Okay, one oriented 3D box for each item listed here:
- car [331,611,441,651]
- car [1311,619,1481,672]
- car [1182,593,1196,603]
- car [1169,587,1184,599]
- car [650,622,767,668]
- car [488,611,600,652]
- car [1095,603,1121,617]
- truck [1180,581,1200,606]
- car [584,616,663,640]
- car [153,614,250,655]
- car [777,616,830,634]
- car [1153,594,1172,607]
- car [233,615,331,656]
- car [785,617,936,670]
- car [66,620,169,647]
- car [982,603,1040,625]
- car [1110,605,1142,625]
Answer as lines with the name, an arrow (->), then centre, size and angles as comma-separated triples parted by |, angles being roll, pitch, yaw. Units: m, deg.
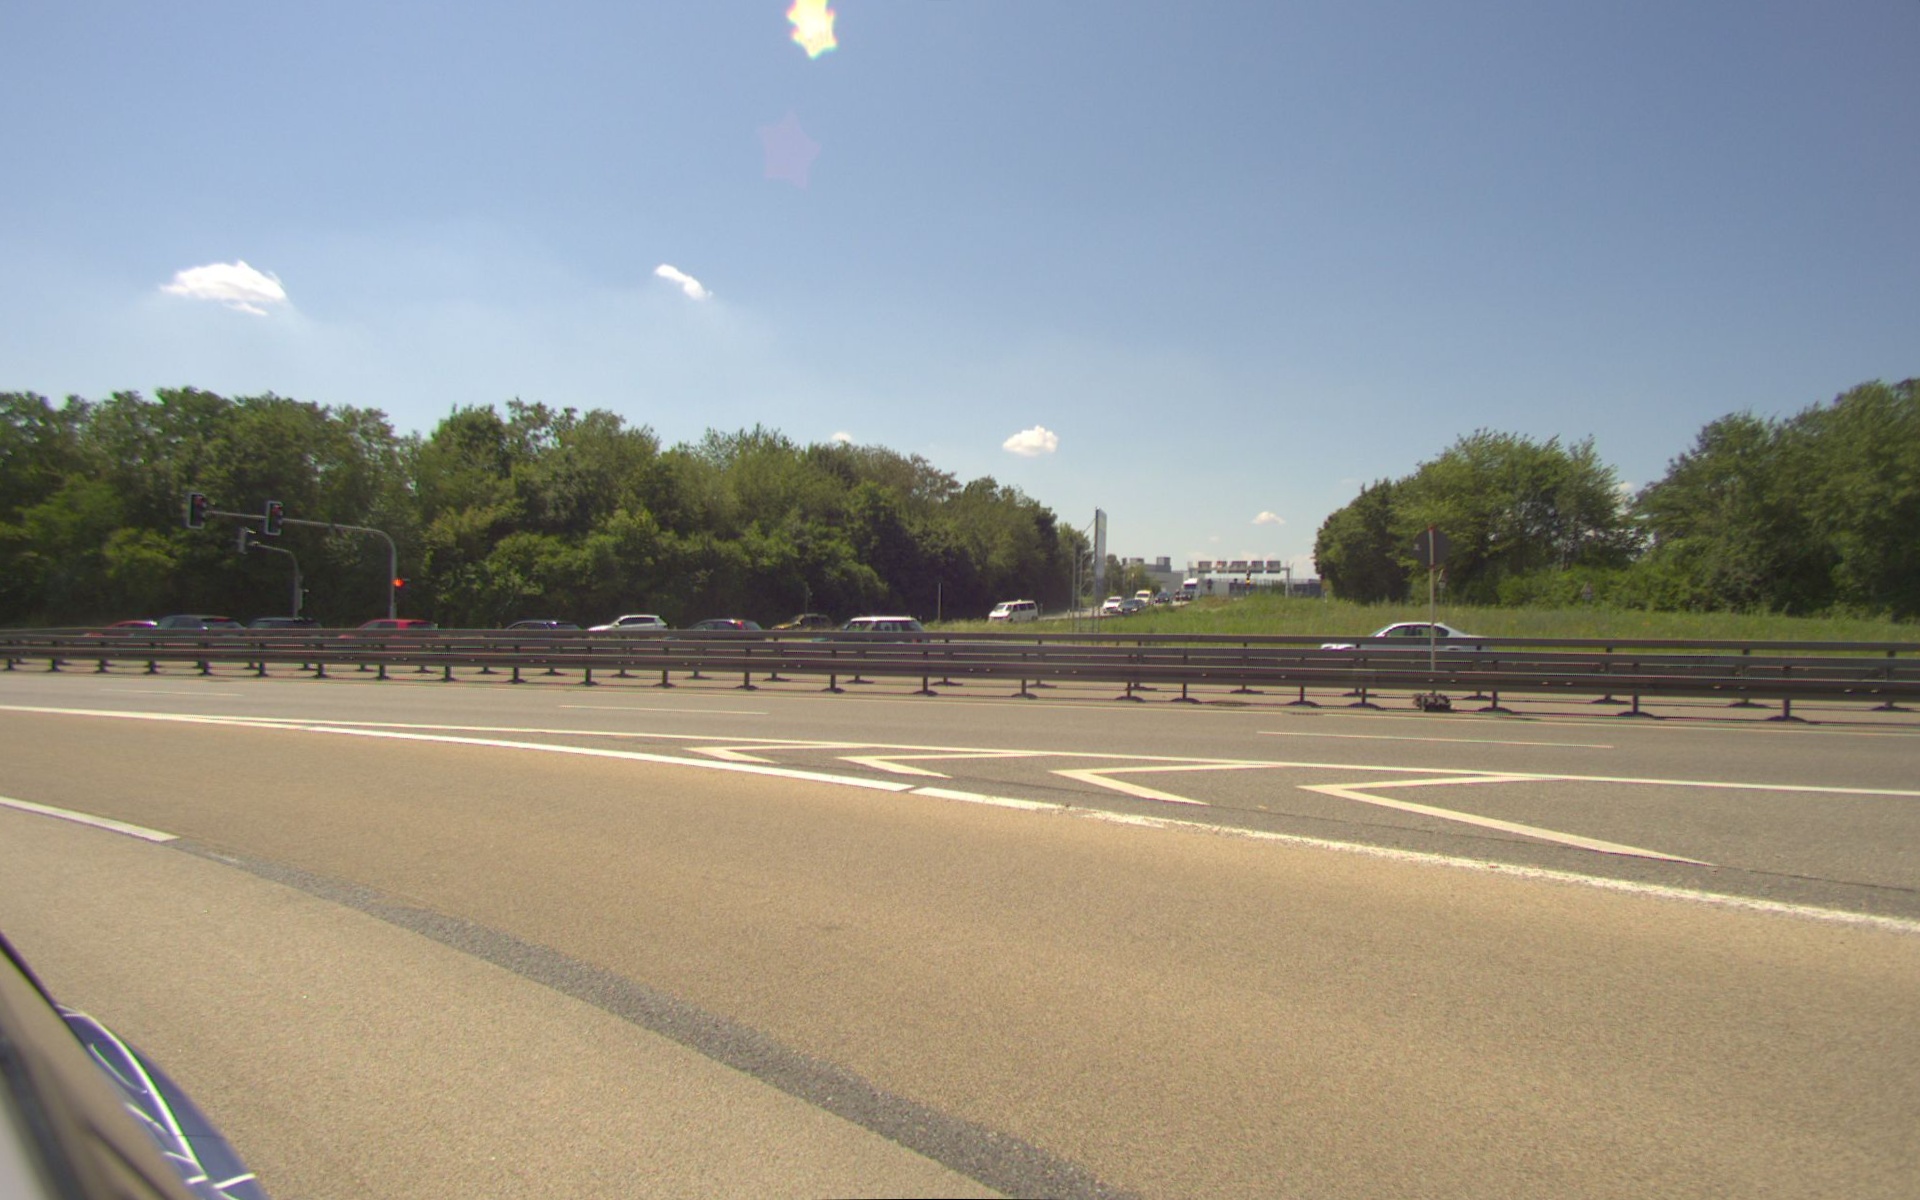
car -> -21.970, 1.188, 38.754 | 3.670, 1.461, 1.559 | -1, -1, 16
car -> 12.974, 1.346, 30.393 | 4.499, 1.496, 1.693 | -1, -1, 19
car -> 33.425, -0.284, 147.665 | 1.587, 1.443, 3.548 | -1, -2, 18
car -> 29.941, -0.952, 140.010 | 1.587, 1.443, 3.548 | -1, -2, 18
car -> -8.489, 1.495, 34.188 | 3.639, 1.461, 1.478 | -1, -1, 20
car -> -14.914, 1.124, 36.287 | 3.544, 1.404, 1.643 | -1, -1, 20
car -> 14.793, 0.994, 101.049 | 1.684, 1.346, 3.437 | -1, -1, 26
truck -> 38.496, -1.029, 169.525 | 2.809, 4.190, 3.975 | -1, -1, 19
car -> -18.327, 1.503, 55.079 | 3.877, 1.231, 1.715 | 0, -1, -26
car -> -23.894, 1.085, 31.895 | 2.707, 1.246, 1.149 | -1, -1, 20
car -> -10.464, 1.656, 67.812 | 3.124, 1.158, 1.634 | 0, -1, -36
car -> 25.816, 0.071, 129.093 | 1.590, 1.443, 3.720 | -1, -2, 23
car -> -23.578, 1.232, 35.190 | 2.993, 1.359, 1.336 | -1, -1, 20
car -> -2.742, 1.180, 27.901 | 3.892, 1.358, 1.509 | -1, -1, 20
car -> -39.966, 1.582, 48.081 | 3.314, 1.231, 1.714 | 0, -1, -13
car -> 4.021, 1.144, 78.926 | 2.015, 1.653, 5.048 | -1, -2, 37
car -> 15.095, 1.328, 91.863 | 1.986, 1.721, 4.187 | -1, -1, 21
